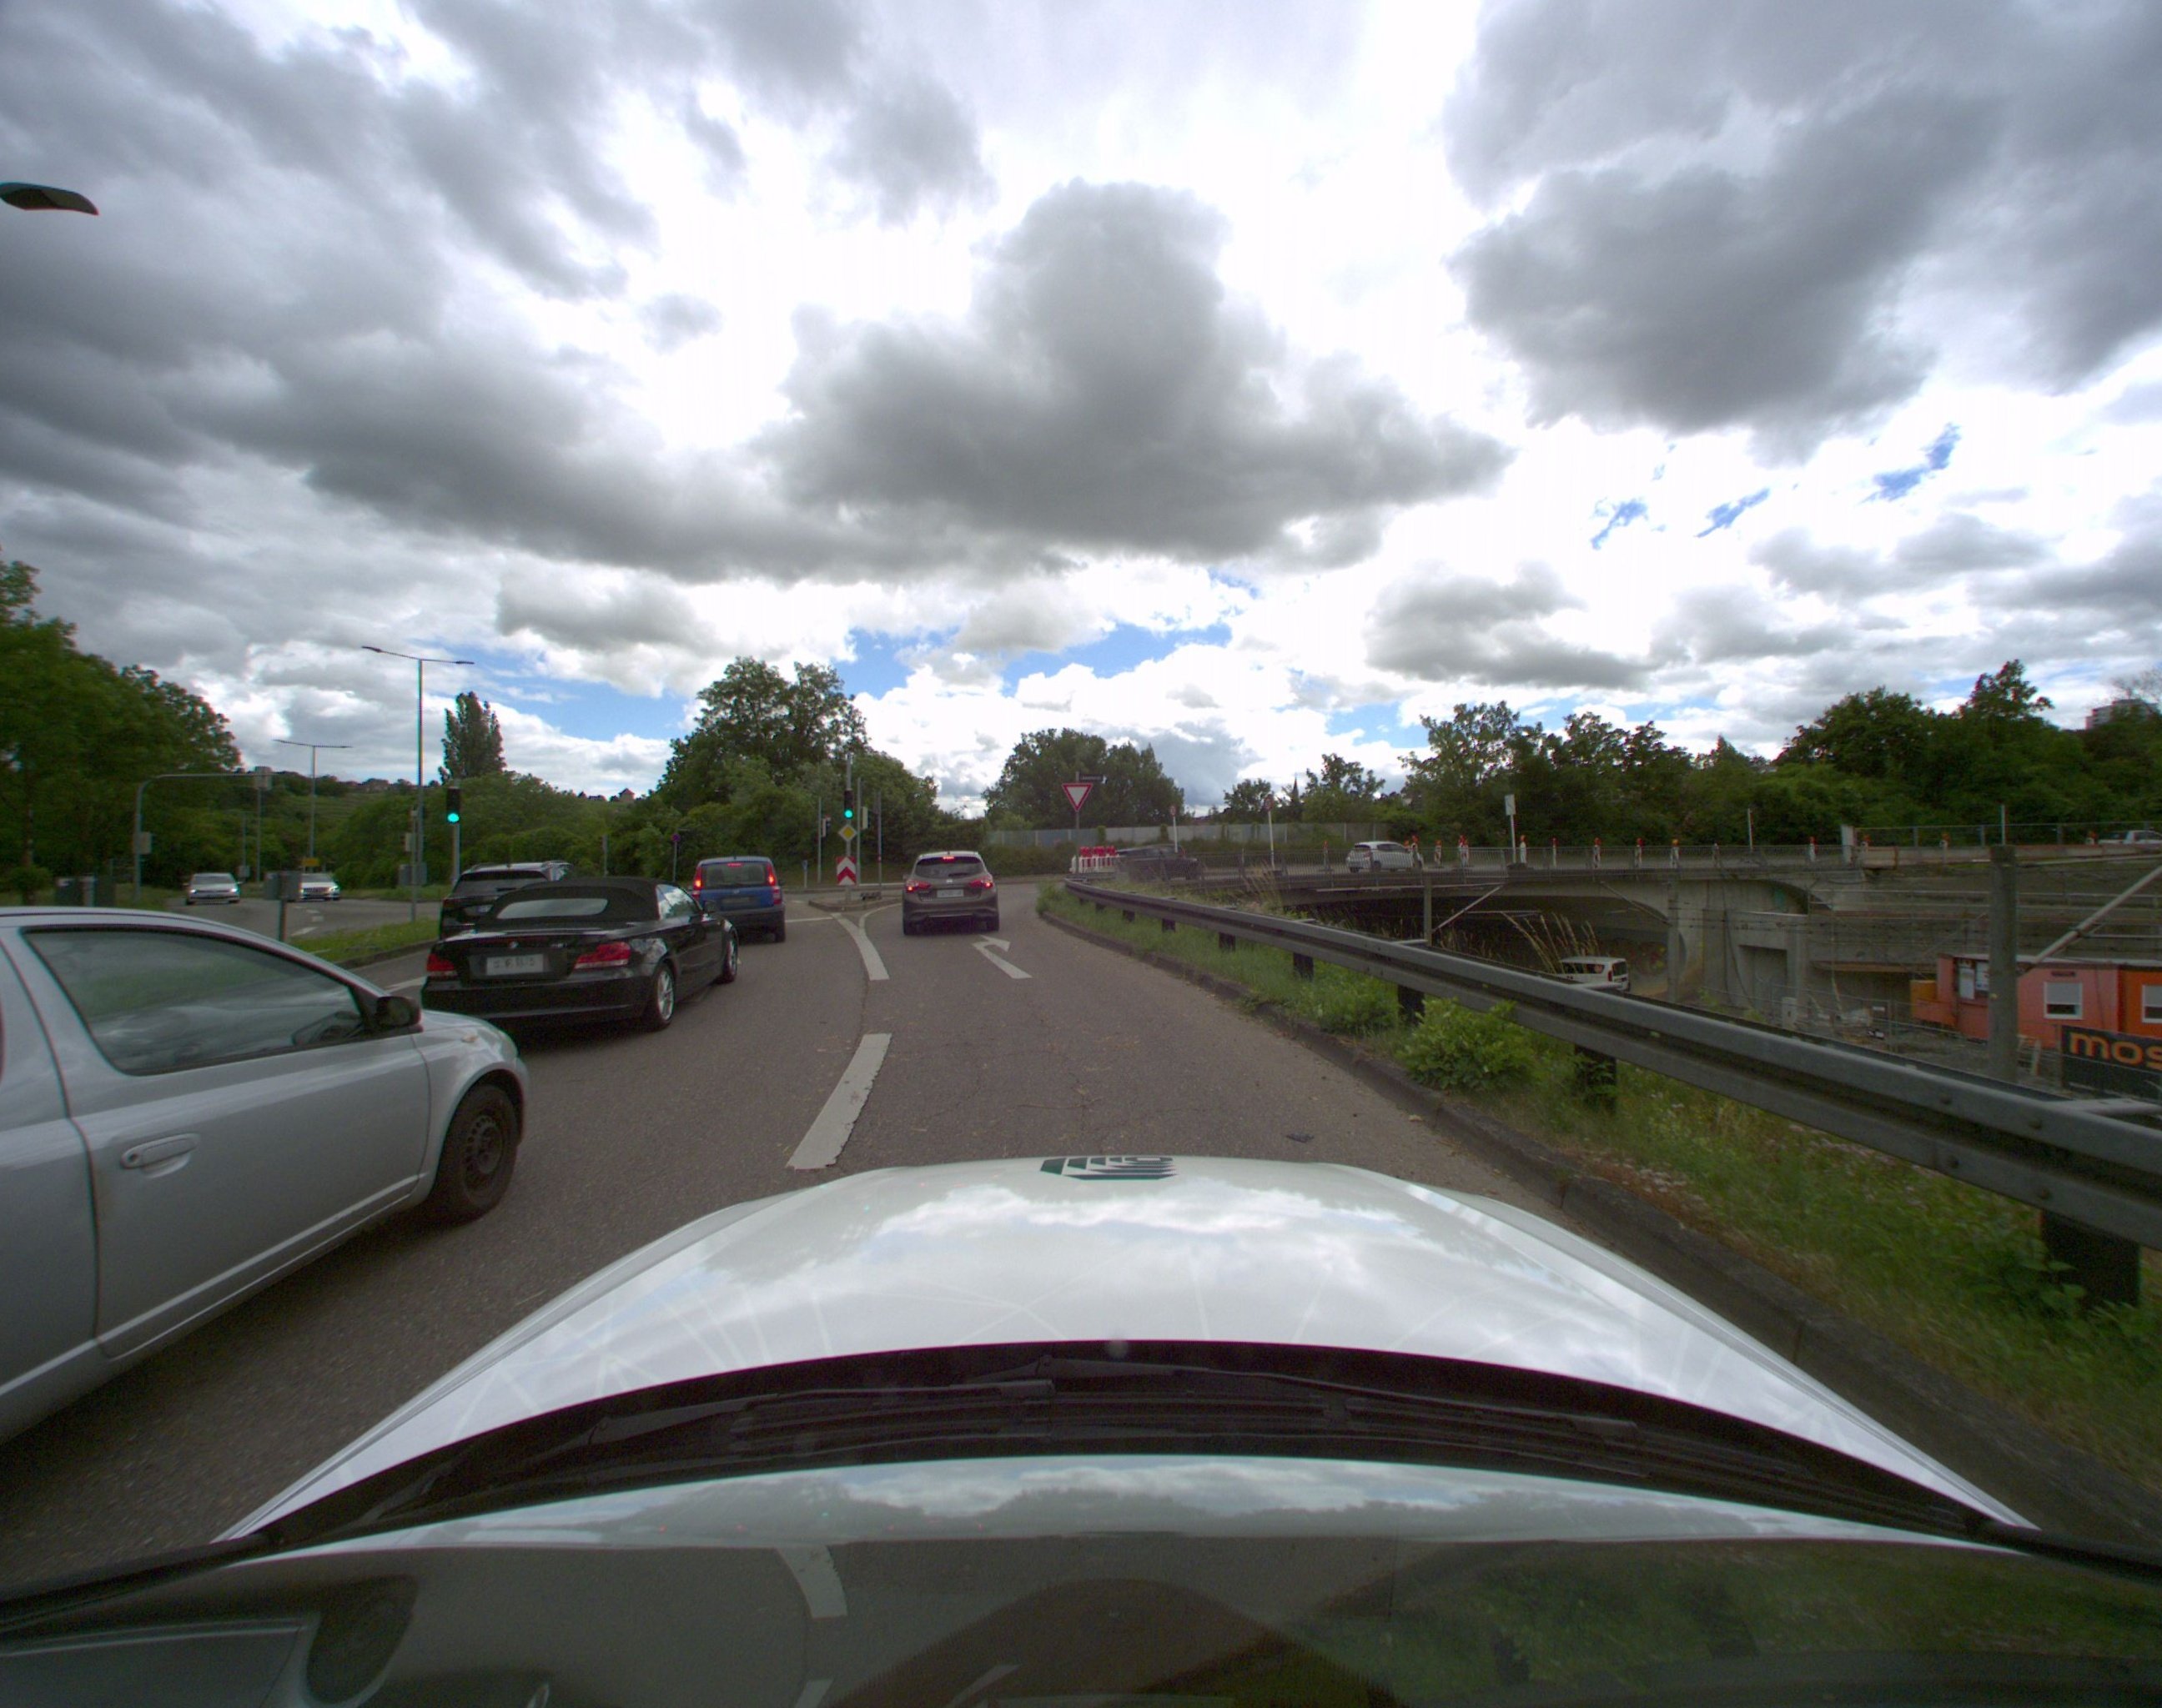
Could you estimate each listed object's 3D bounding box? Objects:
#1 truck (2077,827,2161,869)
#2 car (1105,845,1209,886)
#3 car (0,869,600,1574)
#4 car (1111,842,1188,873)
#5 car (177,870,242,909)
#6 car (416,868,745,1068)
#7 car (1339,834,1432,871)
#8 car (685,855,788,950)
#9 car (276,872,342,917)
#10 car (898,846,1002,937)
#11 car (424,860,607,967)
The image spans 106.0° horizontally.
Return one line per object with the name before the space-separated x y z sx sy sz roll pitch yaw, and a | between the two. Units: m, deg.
truck | 53.745 -0.318 41.559 3.190 2.013 1.749 2 0 20
car | 3.081 0.470 32.890 3.797 1.552 1.809 1 0 -28
car | -3.327 0.873 2.624 1.667 1.469 3.619 -4 1 -7
car | 3.710 0.196 44.248 3.785 1.552 1.634 -1 -2 -17
car | -46.026 1.816 42.993 4.268 1.759 2.096 2 0 40
car | -4.745 0.912 8.431 1.565 1.368 4.067 -2 1 -12
car | 14.473 -0.064 38.690 4.000 1.675 1.706 0 -1 -20
car | -6.394 0.798 15.218 1.550 1.507 3.355 -2 1 -23
car | -39.571 1.997 41.700 4.268 1.994 1.947 2 0 40
car | -2.675 0.659 16.442 1.798 1.552 3.985 -2 0 -11
car | -9.836 0.926 14.490 1.662 1.507 3.745 -4 1 -20
